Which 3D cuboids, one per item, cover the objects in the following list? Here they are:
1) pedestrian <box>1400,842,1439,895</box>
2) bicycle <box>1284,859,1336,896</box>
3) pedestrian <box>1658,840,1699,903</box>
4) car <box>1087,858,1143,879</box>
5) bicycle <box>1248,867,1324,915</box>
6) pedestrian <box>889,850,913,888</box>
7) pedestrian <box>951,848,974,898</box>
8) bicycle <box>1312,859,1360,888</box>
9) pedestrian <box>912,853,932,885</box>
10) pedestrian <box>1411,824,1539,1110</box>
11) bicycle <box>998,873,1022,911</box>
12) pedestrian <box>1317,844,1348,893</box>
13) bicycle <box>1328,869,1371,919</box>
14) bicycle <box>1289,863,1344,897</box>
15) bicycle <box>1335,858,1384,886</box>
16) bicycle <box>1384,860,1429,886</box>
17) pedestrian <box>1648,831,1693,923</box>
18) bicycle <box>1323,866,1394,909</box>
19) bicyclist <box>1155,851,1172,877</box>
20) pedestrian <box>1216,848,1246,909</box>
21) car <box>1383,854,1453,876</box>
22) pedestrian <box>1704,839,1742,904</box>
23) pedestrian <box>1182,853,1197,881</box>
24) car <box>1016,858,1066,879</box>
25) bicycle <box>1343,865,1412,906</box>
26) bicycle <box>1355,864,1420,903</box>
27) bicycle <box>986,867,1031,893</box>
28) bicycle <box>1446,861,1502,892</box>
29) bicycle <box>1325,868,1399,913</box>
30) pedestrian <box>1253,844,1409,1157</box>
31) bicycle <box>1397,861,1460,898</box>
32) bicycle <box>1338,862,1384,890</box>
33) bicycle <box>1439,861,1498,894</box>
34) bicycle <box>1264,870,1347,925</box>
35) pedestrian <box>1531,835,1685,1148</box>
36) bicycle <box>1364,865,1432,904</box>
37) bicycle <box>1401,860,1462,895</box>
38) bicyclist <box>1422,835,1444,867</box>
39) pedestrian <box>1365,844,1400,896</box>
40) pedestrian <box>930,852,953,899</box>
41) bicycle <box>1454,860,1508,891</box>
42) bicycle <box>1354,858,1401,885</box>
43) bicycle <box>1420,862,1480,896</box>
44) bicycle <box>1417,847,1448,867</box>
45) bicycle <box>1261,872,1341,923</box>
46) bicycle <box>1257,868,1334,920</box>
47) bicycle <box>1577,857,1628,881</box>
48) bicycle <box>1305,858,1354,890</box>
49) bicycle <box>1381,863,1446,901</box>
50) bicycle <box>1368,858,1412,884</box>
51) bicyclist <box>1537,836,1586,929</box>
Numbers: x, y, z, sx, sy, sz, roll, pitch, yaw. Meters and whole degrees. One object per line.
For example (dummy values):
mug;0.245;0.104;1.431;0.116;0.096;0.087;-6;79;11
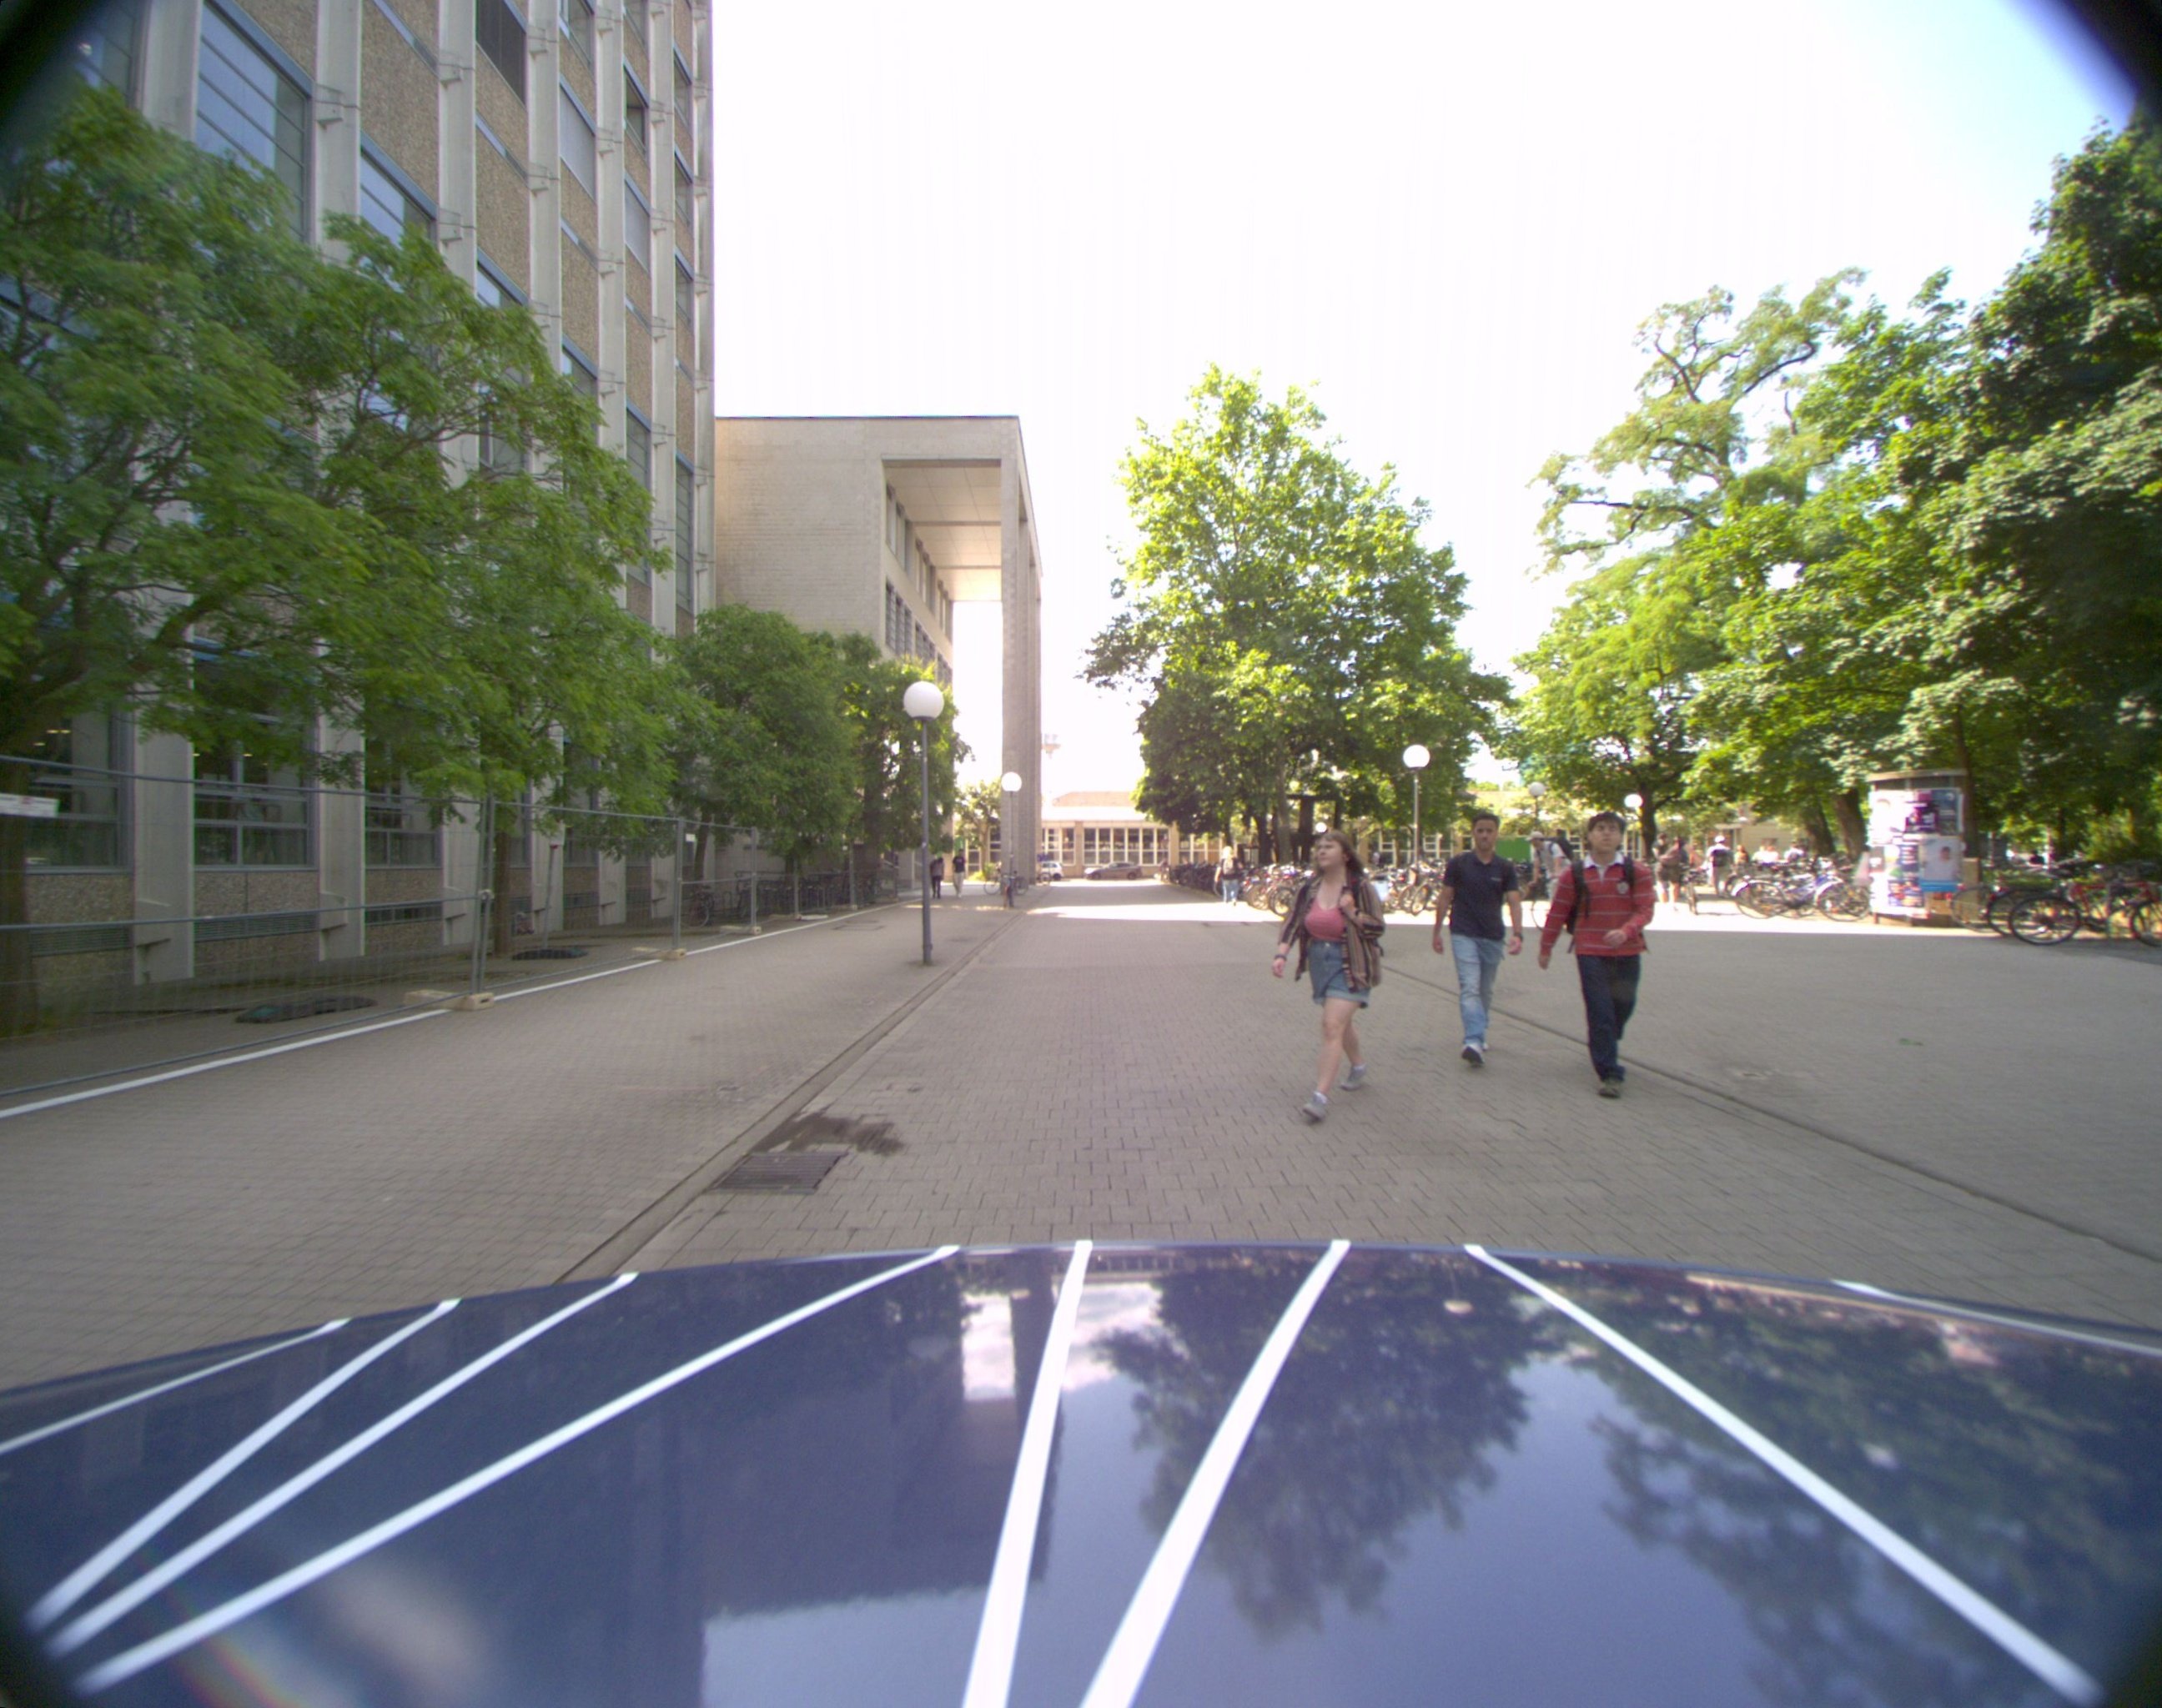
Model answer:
pedestrian;11.173;0.473;25.096;0.771;1.693;0.904;-2;1;-41
bicycle;8.068;0.813;26.742;1.700;1.213;0.502;-1;1;-11
pedestrian;17.683;0.505;22.475;0.884;1.804;0.832;-2;1;-44
car;2.591;1.102;58.638;4.208;1.468;1.653;-1;2;0
bicycle;5.110;0.933;19.006;1.778;1.161;0.474;-1;1;14
pedestrian;-8.684;0.730;36.680;0.960;1.803;0.769;-2;1;-8
pedestrian;-4.266;0.673;27.300;0.703;1.792;0.881;0;0;-17
bicycle;9.922;0.752;29.627;1.695;1.101;0.504;-1;1;37
pedestrian;-8.010;0.750;38.292;0.809;1.608;0.739;0;1;-28
pedestrian;2.836;0.727;5.434;0.684;1.824;0.943;0;0;35
bicycle;-2.135;1.115;22.856;0.538;1.033;1.858;0;0;0
pedestrian;9.406;0.518;28.420;0.771;1.796;0.708;-2;1;-32
bicycle;6.362;0.934;18.058;0.508;1.077;1.700;-1;0;4
bicycle;7.955;0.864;25.685;1.700;1.101;0.502;-1;1;-11
bicycle;10.993;0.708;30.008;1.695;1.101;0.504;-1;1;37
bicycle;14.401;0.846;33.643;0.504;1.101;1.775;-2;1;-37
pedestrian;12.177;0.460;15.714;0.612;1.825;1.052;0;1;32
bicycle;7.371;0.891;20.237;1.696;1.077;0.474;-1;1;14
bicyclist;5.407;0.646;49.872;0.772;1.706;0.913;1;2;31
pedestrian;4.272;0.691;21.647;0.768;1.670;0.908;0;2;15
car;25.889;0.814;58.481;4.536;1.608;1.838;-1;1;-2
pedestrian;18.362;0.493;21.731;0.768;1.793;0.986;-1;1;42
pedestrian;6.610;0.791;46.335;0.881;1.645;0.703;0;0;12
car;-3.049;1.096;58.517;3.776;1.468;1.653;0;2;0
bicycle;8.139;0.851;20.893;1.695;1.077;0.475;-1;1;36
bicycle;8.894;0.842;22.071;1.695;1.077;0.475;-1;1;32
bicycle;-2.851;1.014;29.804;1.743;1.033;0.449;0;-1;-4
bicycle;13.877;0.778;26.867;0.475;1.077;1.695;-2;1;-37
bicycle;7.071;0.918;19.167;1.696;1.077;0.474;-1;1;13
pedestrian;1.455;0.810;4.543;0.685;1.714;0.731;-2;1;4
bicycle;10.737;0.784;23.478;1.695;1.077;0.475;-1;1;36
bicycle;11.509;0.895;31.234;1.695;1.101;0.504;-1;1;41
bicycle;13.155;0.799;25.831;0.475;1.077;1.695;-2;1;-45
bicycle;4.996;0.960;16.925;1.699;1.152;0.474;-1;1;-8
pedestrian;3.294;0.762;4.801;0.717;1.714;1.067;0;0;33
bicycle;8.941;0.854;21.458;1.695;1.077;0.475;-1;1;32
bicycle;11.276;0.752;24.454;1.695;1.077;0.475;-1;1;36
bicyclist;21.336;-0.176;46.036;0.869;1.880;0.803;-4;0;-34
pedestrian;10.172;0.532;25.672;0.906;1.693;0.770;-1;0;6
pedestrian;-5.030;0.761;27.340;0.703;1.645;0.881;0;0;-17
bicycle;14.633;0.777;27.827;0.475;1.077;1.695;-2;1;-37
bicycle;12.442;0.738;31.914;1.695;1.101;0.633;-1;1;41
bicycle;12.160;0.817;25.084;0.475;1.077;1.695;-2;1;-45
bicycle;21.258;0.168;45.958;1.889;1.165;0.803;-2;-1;-34
bicycle;5.026;0.992;17.394;1.699;1.085;0.474;-1;1;-5
bicycle;5.126;0.940;18.154;1.699;1.161;0.474;-1;1;-5
bicycle;23.903;0.672;34.844;0.475;1.077;1.854;-2;1;-37
bicycle;9.522;0.753;29.150;1.695;1.193;0.577;-1;1;37
bicycle;9.904;0.826;22.636;1.695;1.077;0.475;-1;1;36
bicycle;13.314;0.725;32.769;1.695;1.101;0.504;-1;1;41
bicyclist;8.318;0.478;13.145;0.594;1.559;0.723;-1;1;41
